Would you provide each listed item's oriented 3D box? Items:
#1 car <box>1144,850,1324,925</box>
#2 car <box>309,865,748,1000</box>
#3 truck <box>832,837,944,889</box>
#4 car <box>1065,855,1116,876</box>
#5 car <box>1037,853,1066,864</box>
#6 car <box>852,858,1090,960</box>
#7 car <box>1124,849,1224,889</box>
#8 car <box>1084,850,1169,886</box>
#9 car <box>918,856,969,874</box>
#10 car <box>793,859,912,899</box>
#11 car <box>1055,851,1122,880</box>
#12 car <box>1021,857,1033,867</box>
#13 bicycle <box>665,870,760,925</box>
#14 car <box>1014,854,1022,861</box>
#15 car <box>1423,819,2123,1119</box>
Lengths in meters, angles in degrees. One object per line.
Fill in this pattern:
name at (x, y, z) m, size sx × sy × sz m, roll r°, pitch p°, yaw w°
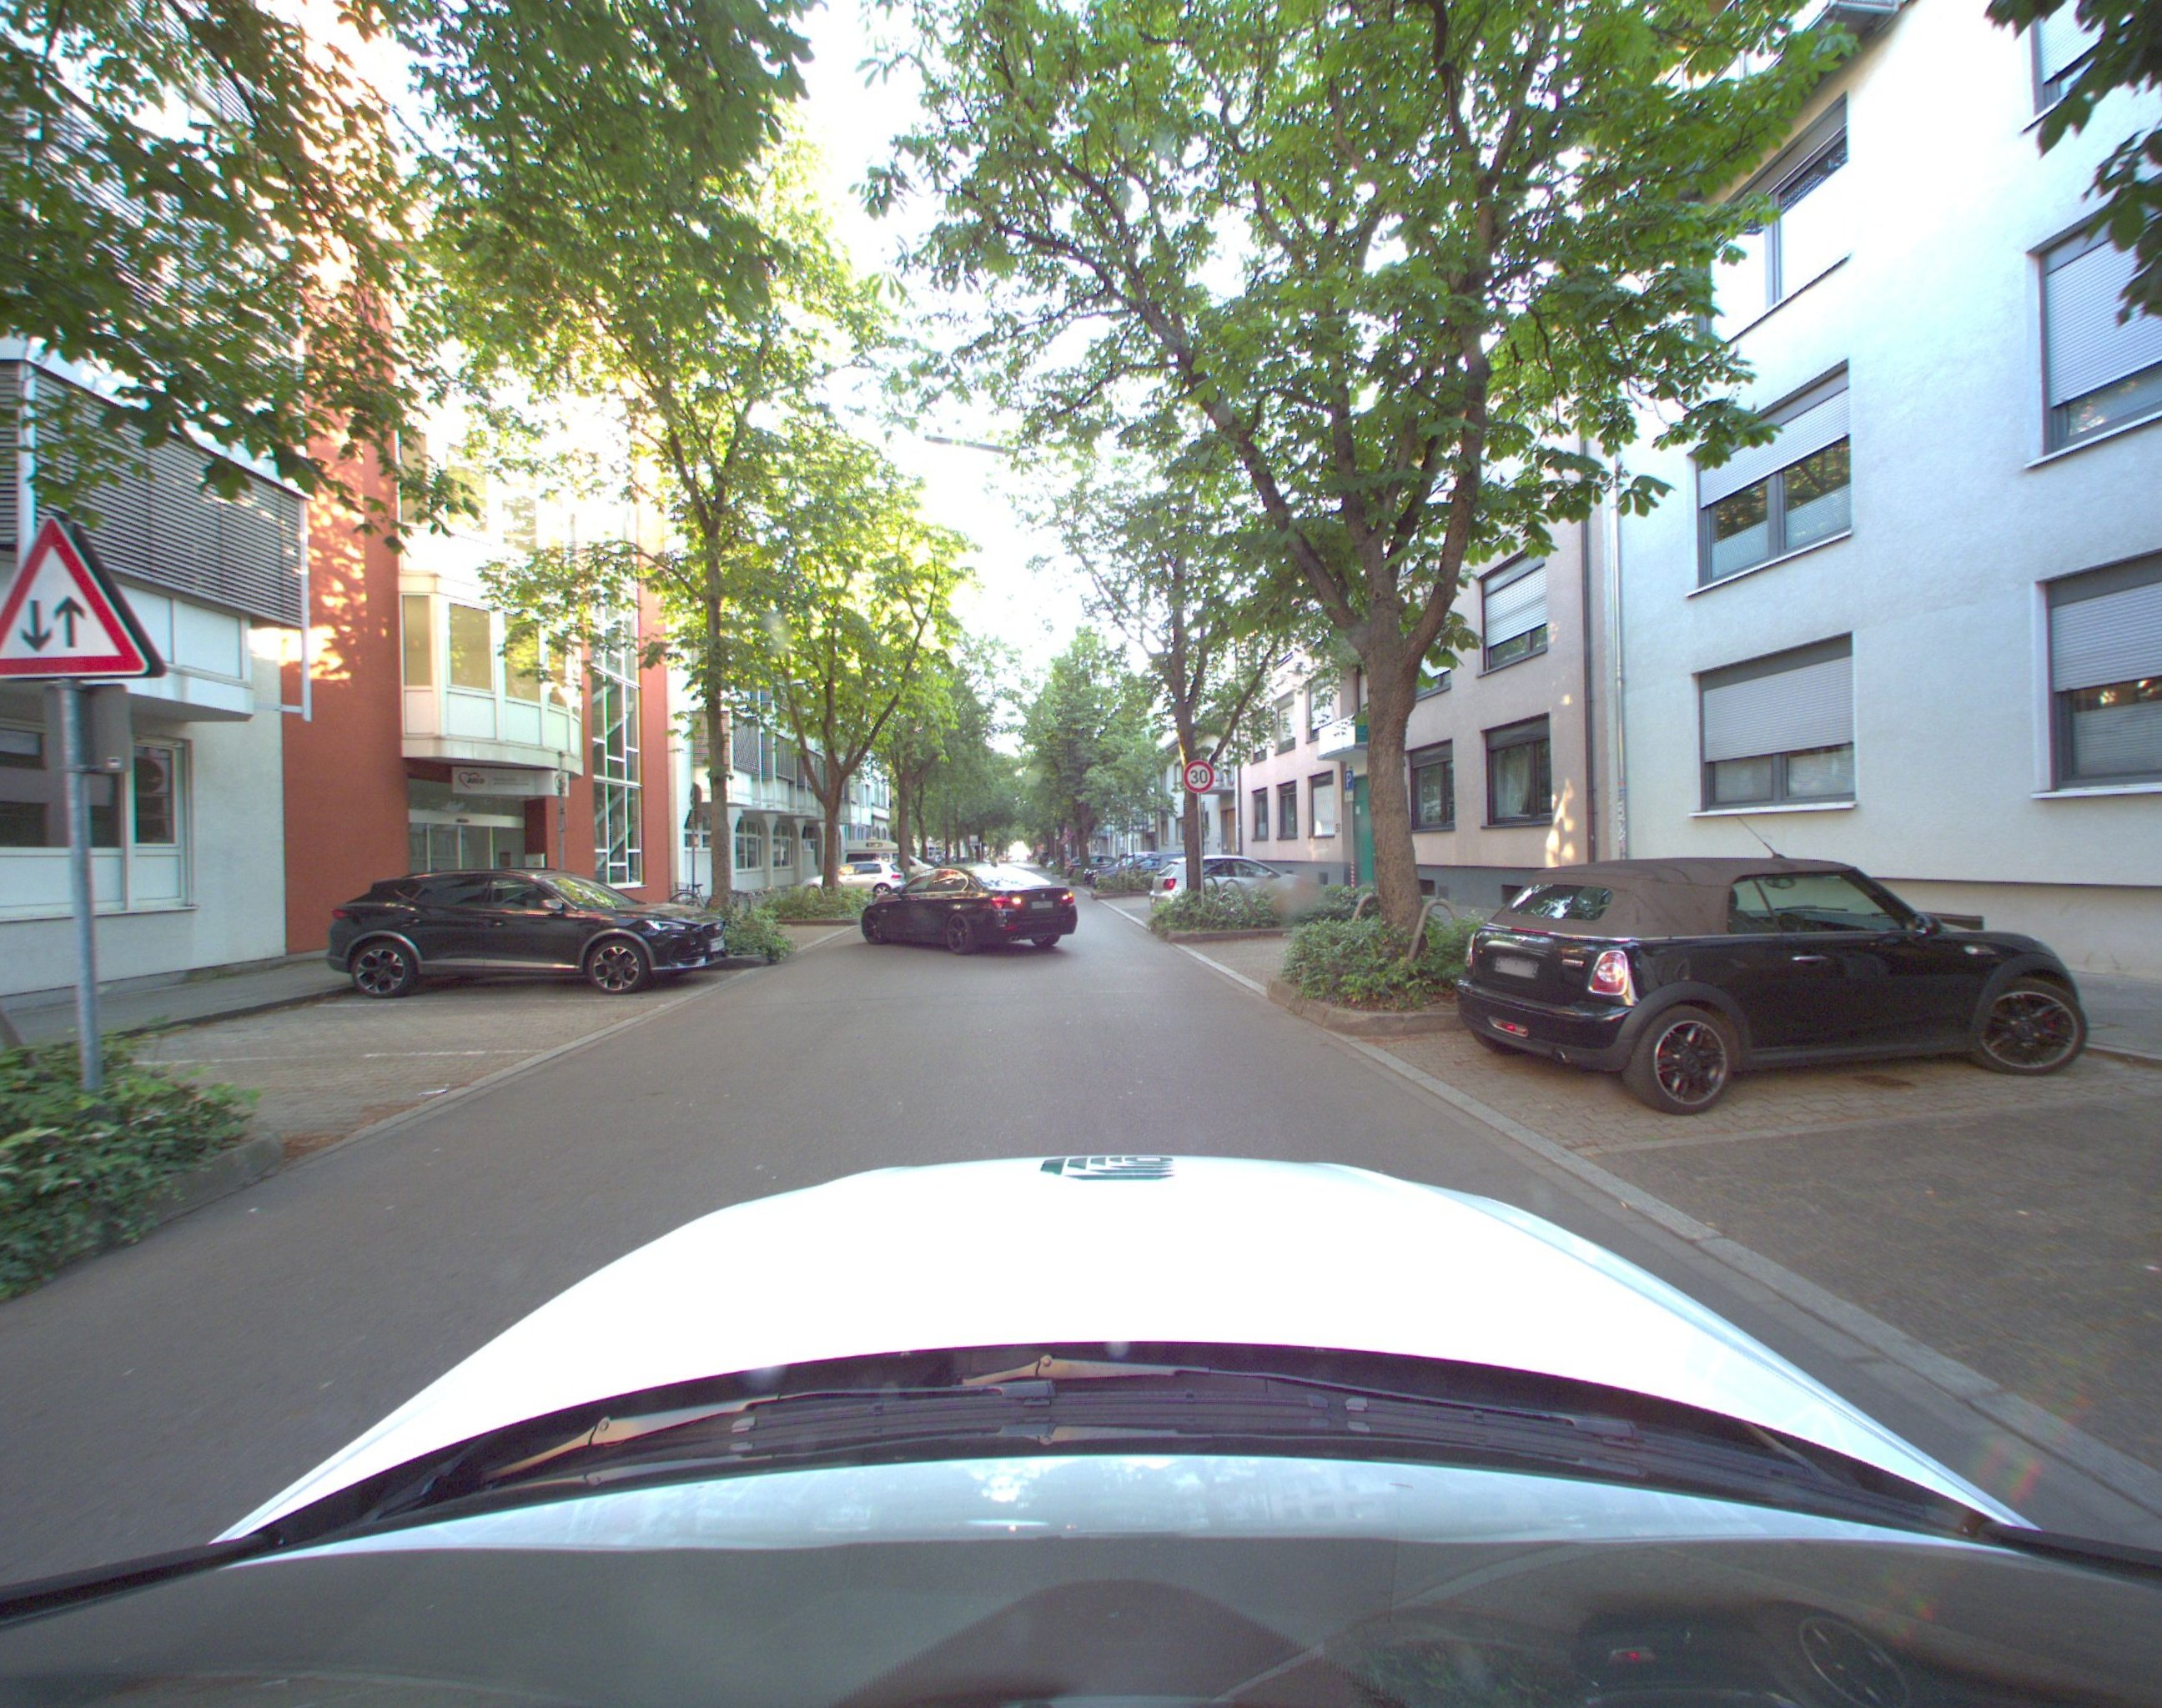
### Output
car at (3.395, 0.712, 18.395) m, size 3.653 × 1.479 × 1.562 m, roll -2°, pitch 0°, yaw -7°
car at (-6.891, 0.927, 10.595) m, size 4.349 × 1.509 × 1.832 m, roll 0°, pitch 0°, yaw -5°
truck at (-9.320, 0.394, 39.662) m, size 4.989 × 2.441 × 1.914 m, roll 0°, pitch 1°, yaw -4°
car at (0.686, 0.837, 60.458) m, size 3.653 × 1.393 × 1.562 m, roll -2°, pitch 0°, yaw -7°
car at (-3.778, 0.579, 103.505) m, size 3.653 × 1.393 × 1.562 m, roll -1°, pitch 0°, yaw -7°
car at (-2.081, 0.832, 14.229) m, size 1.778 × 1.450 × 4.611 m, roll -1°, pitch 0°, yaw -42°
car at (3.657, 0.566, 32.324) m, size 3.653 × 1.393 × 1.562 m, roll -2°, pitch 0°, yaw -7°
car at (2.142, 0.661, 38.718) m, size 3.788 × 1.530 × 1.562 m, roll -2°, pitch 0°, yaw -7°
car at (-11.344, 0.910, 67.352) m, size 4.014 × 1.471 × 1.637 m, roll 0°, pitch 0°, yaw -5°
car at (-8.731, 0.936, 31.368) m, size 4.125 × 1.471 × 1.637 m, roll 0°, pitch 0°, yaw -5°
car at (0.411, 0.646, 47.390) m, size 3.653 × 1.536 × 1.562 m, roll -2°, pitch 0°, yaw -7°
car at (-8.971, 1.312, 135.487) m, size 1.990 × 1.552 × 3.994 m, roll -1°, pitch 0°, yaw -5°
bicycle at (-8.759, 1.025, 19.403) m, size 1.973 × 1.199 × 0.499 m, roll -1°, pitch 0°, yaw -16°
car at (-14.484, 0.867, 187.274) m, size 1.891 × 1.475 × 3.995 m, roll -1°, pitch 0°, yaw -4°
car at (4.535, 0.617, 5.583) m, size 3.702 × 1.428 × 1.622 m, roll -4°, pitch 0°, yaw -10°
